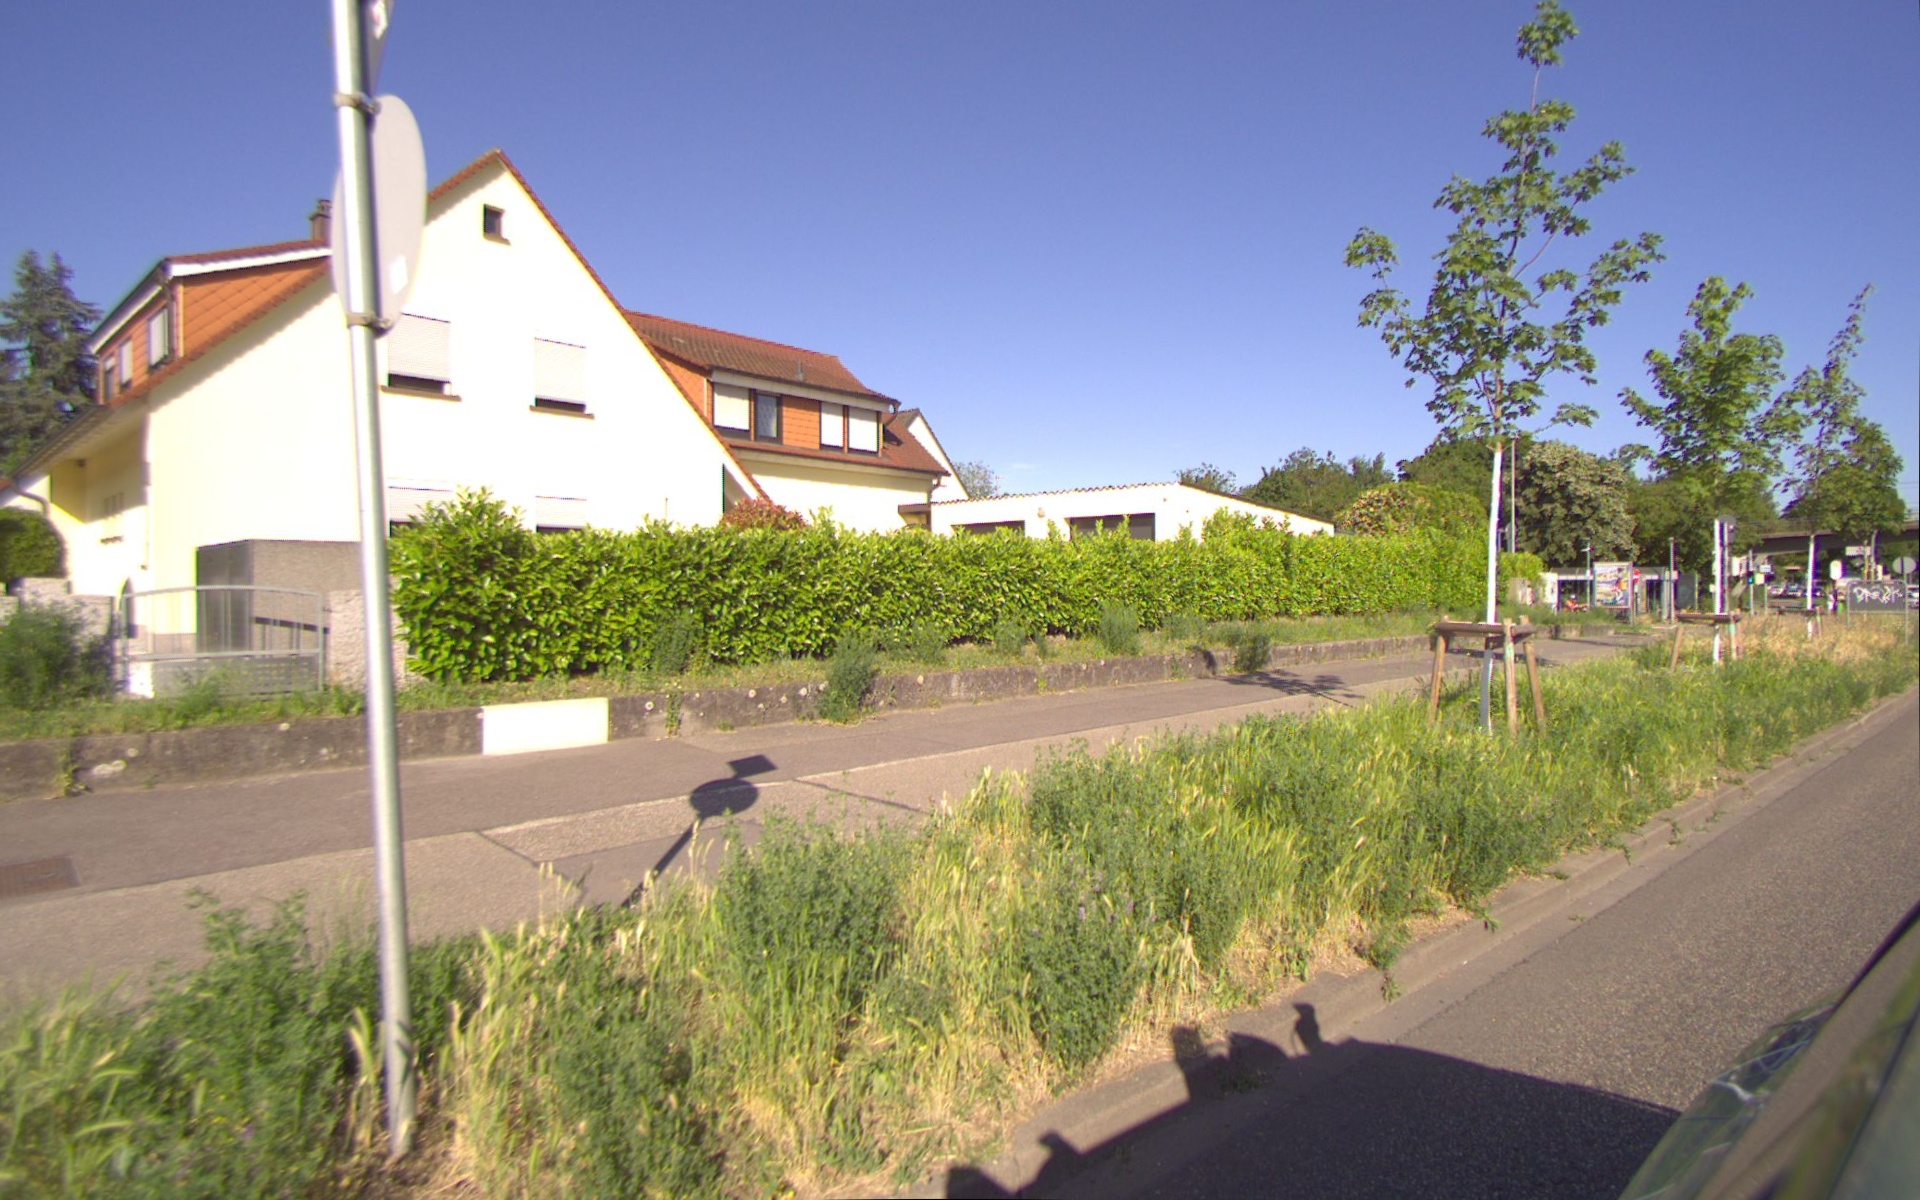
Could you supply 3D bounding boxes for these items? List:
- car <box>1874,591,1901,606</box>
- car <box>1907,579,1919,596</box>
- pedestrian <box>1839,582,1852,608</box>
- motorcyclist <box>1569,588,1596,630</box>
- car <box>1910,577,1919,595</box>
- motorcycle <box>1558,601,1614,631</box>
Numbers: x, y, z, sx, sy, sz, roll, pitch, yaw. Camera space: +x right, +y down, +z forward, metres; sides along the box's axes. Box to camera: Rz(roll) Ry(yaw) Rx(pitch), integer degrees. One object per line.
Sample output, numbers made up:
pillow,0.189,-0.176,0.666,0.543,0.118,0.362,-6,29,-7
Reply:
car,103.627,-0.197,113.051,1.864,1.641,3.784,-1,0,38
car,94.369,-1.240,99.247,1.866,1.641,3.781,-1,0,40
pedestrian,57.777,-0.322,66.042,0.587,1.683,0.706,0,0,39
motorcyclist,23.673,0.319,38.480,0.688,1.577,0.694,0,1,-42
car,112.452,-1.642,118.086,1.989,2.039,3.946,-1,0,38
motorcycle,23.750,0.601,38.390,0.443,1.084,1.759,0,1,-41
